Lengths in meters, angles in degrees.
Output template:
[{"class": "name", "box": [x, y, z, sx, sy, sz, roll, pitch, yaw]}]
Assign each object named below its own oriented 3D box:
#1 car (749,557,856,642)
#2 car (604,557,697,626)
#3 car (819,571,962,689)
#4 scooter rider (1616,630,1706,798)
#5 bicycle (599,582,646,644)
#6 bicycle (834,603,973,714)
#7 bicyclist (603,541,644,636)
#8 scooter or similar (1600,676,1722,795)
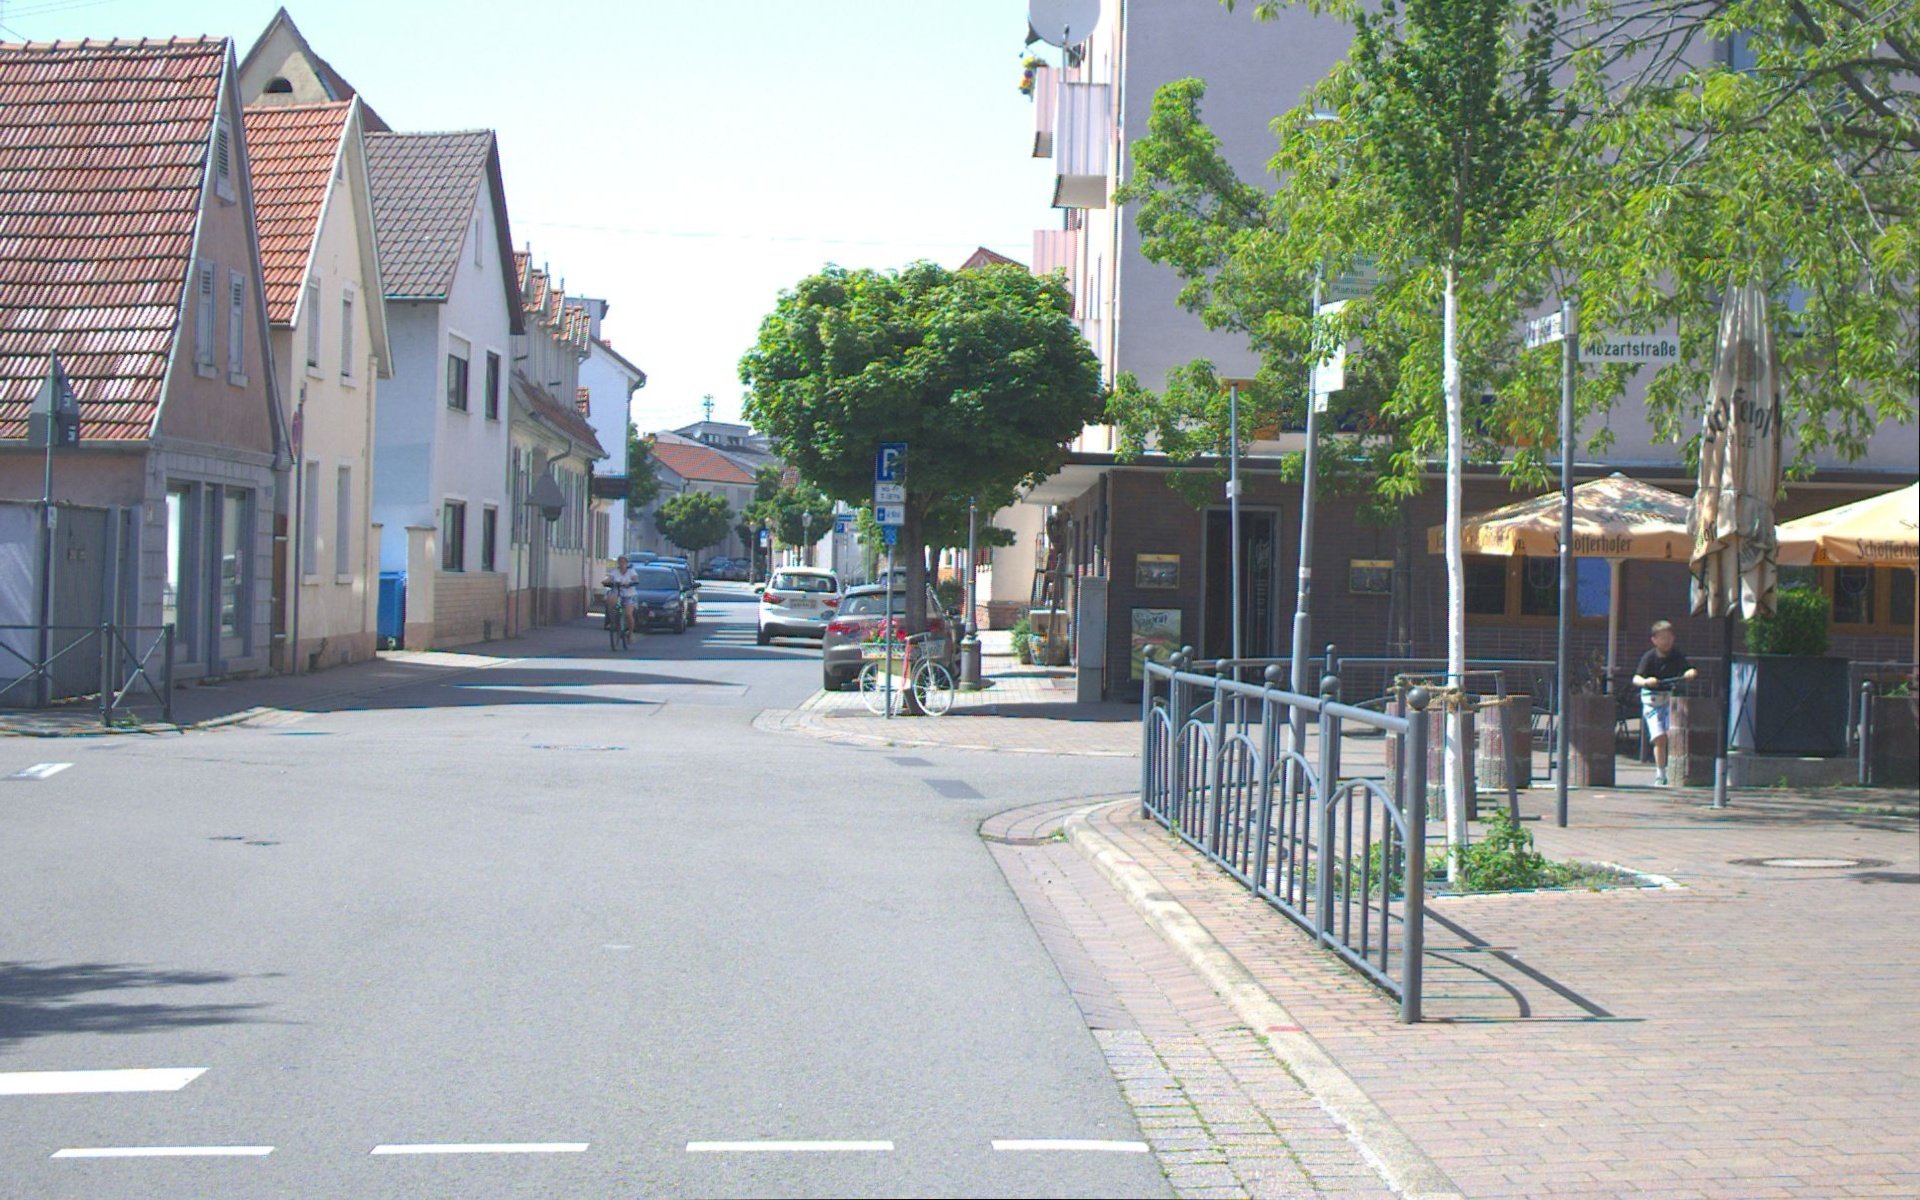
[{"class": "car", "box": [-3.172, -0.022, 69.803, 1.834, 1.646, 4.000, 1, 0, 2]}, {"class": "car", "box": [-7.014, -0.203, 78.205, 1.714, 1.512, 3.786, 1, 0, 0]}, {"class": "car", "box": [-0.914, 0.379, 47.399, 1.805, 1.496, 4.000, 1, 1, 1]}, {"class": "scooter rider", "box": [5.431, 0.877, 26.638, 0.516, 1.281, 0.418, 1, 0, -36]}, {"class": "bicycle", "box": [-6.056, 0.228, 61.691, 0.674, 1.090, 1.896, 0, 0, -1]}, {"class": "bicycle", "box": [-0.643, 0.646, 38.627, 0.525, 1.189, 1.674, 1, 0, -44]}, {"class": "bicyclist", "box": [-6.043, -0.213, 61.743, 0.669, 1.685, 0.761, 0, 0, -1]}, {"class": "scooter or similar", "box": [5.425, 1.040, 26.631, 0.379, 0.870, 0.890, 1, 0, -35]}]
